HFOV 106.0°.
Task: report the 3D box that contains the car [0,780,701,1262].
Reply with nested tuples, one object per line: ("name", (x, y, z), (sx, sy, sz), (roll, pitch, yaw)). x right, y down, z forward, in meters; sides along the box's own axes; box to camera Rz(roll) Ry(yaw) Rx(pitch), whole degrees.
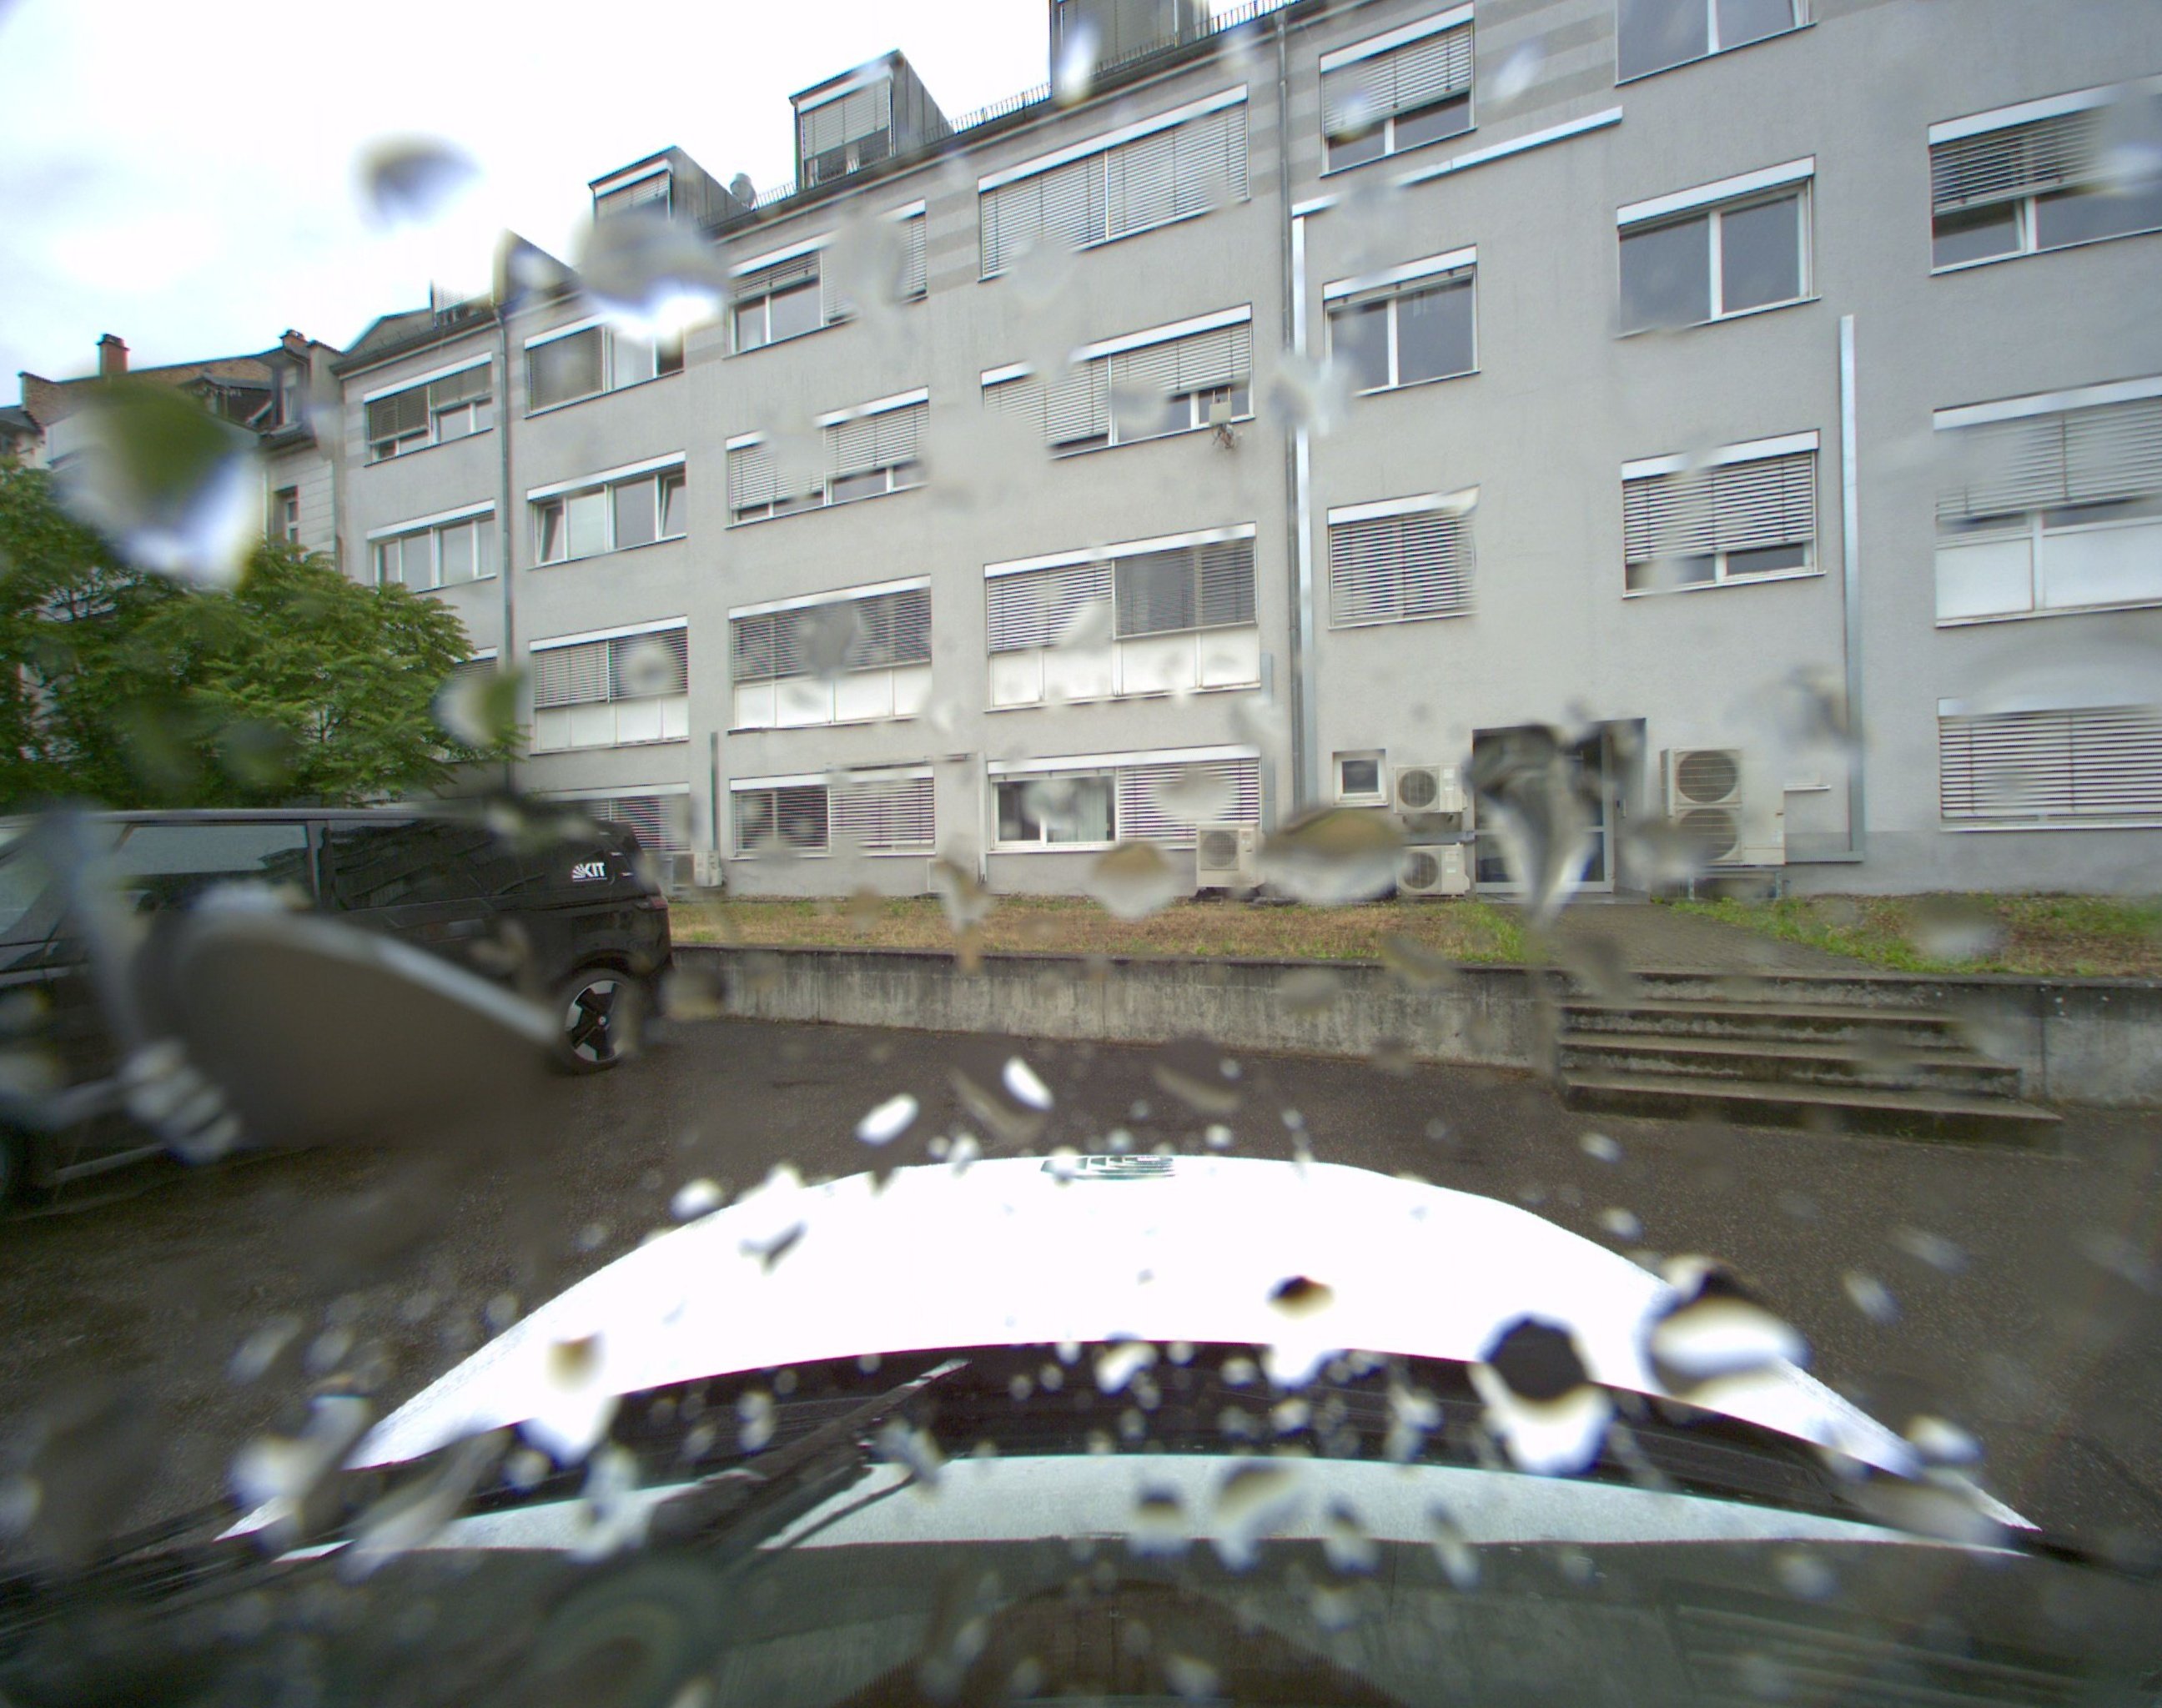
("car", (-4.807, 0.673, 4.741), (2.023, 1.897, 4.545), (-2, 0, 20))

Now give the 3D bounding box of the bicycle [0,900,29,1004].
("bicycle", (-12.444, 1.086, 8.087), (0.625, 1.104, 2.350), (-1, 0, 26))

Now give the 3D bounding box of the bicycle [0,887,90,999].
("bicycle", (-13.082, 1.061, 8.599), (0.623, 1.241, 3.243), (-2, 0, 25))

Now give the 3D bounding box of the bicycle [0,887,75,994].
("bicycle", (-13.659, 1.076, 8.917), (0.623, 1.241, 3.243), (-2, 0, 25))

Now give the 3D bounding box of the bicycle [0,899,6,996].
("bicycle", (-13.170, 1.092, 8.448), (0.625, 1.104, 2.350), (-1, 0, 26))

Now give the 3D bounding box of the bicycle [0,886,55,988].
("bicycle", (-14.250, 1.074, 9.187), (0.623, 1.241, 3.243), (-2, 0, 25))

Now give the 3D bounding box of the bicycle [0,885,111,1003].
("bicycle", (-12.393, 1.020, 8.238), (0.623, 1.241, 3.243), (-2, 0, 25))
